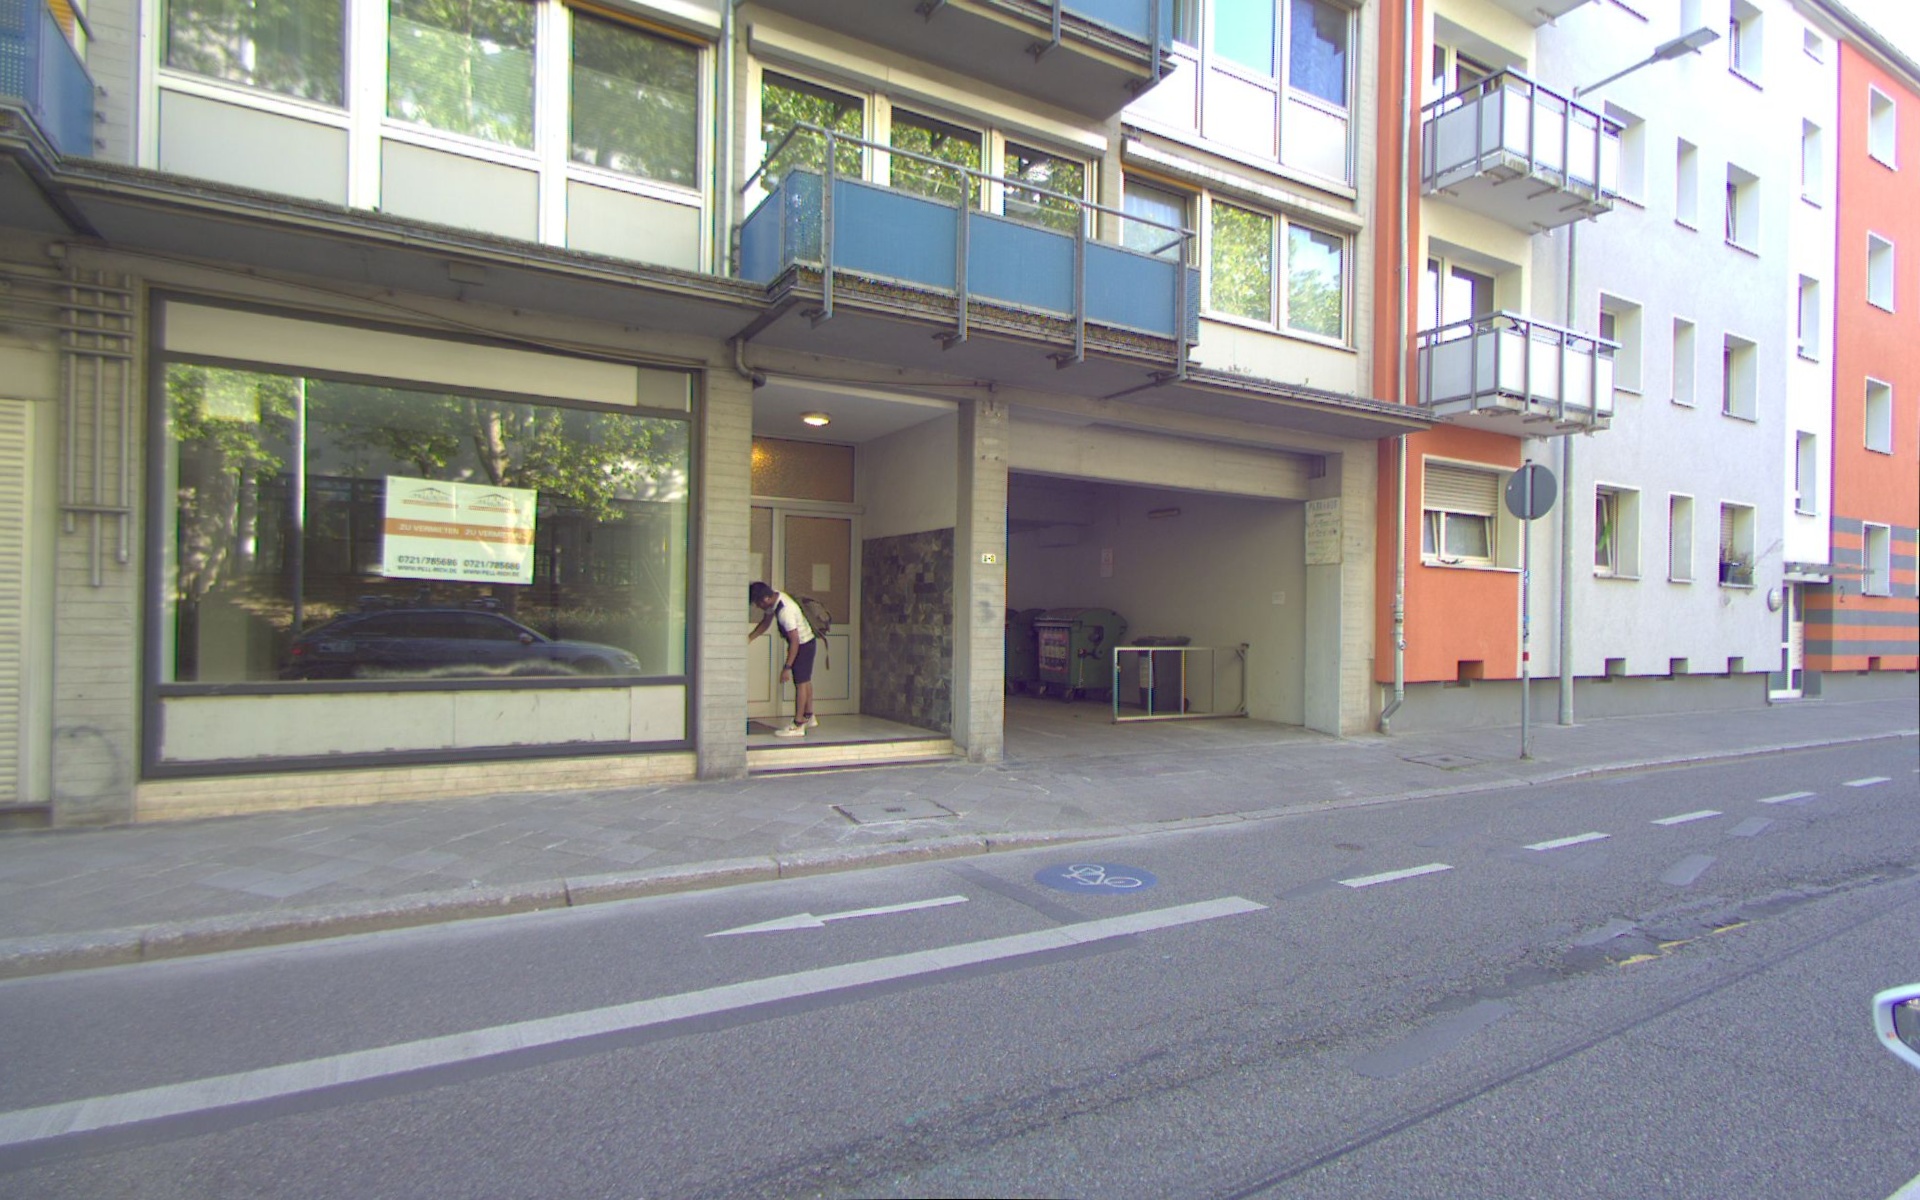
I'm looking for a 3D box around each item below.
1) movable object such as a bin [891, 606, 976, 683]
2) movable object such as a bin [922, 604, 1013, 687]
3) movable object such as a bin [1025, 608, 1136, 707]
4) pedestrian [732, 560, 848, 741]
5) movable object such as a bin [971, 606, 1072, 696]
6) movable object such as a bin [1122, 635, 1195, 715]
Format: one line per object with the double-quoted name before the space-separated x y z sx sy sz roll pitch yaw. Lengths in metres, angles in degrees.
"movable object such as a bin" -0.538 0.862 19.936 1.182 1.452 1.300 2 0 -30
"movable object such as a bin" 0.130 0.831 18.772 1.182 1.452 1.300 2 0 -30
"movable object such as a bin" 1.883 0.869 15.810 1.182 1.452 1.300 2 0 -30
"pedestrian" -1.587 0.454 9.380 0.914 1.606 0.561 1 0 -29
"movable object such as a bin" 1.043 0.851 17.197 1.182 1.452 1.300 2 0 -30
"movable object such as a bin" 2.861 1.063 14.528 0.707 1.089 0.735 2 0 -30
